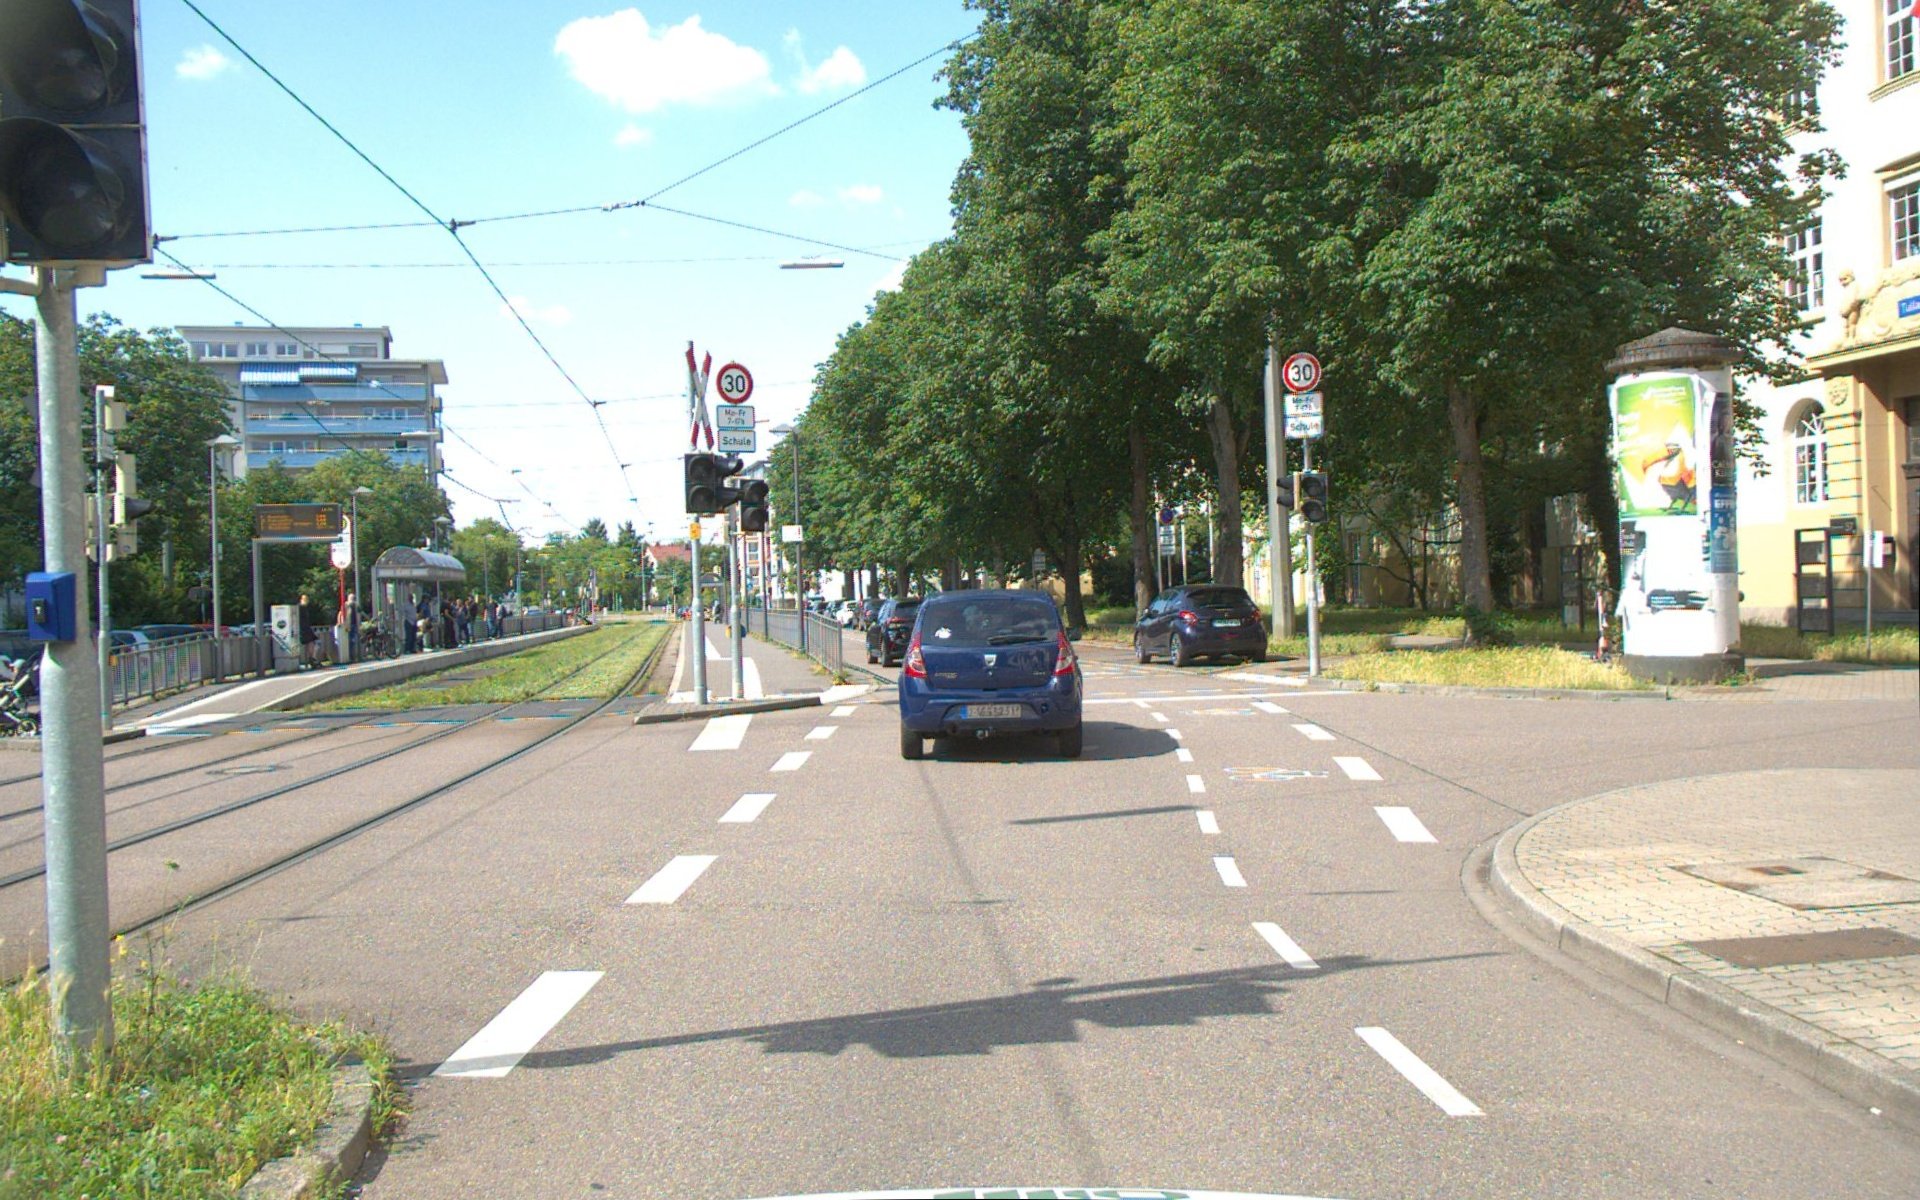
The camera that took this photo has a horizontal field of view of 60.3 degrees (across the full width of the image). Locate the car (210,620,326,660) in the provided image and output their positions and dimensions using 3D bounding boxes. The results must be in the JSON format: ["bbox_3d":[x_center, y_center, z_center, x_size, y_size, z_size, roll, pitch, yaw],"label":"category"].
[{"bbox_3d":[-28.122,1.613,67.276,1.684,1.391,3.980,-3,0,40],"label":"car"}]

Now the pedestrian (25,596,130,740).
[{"bbox_3d":[-11.669,0.878,21.907,0.855,1.806,1.001,-4,0,-11],"label":"pedestrian"}]

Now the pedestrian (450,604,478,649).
[{"bbox_3d":[-16.604,0.881,55.381,0.642,1.450,0.562,-3,0,28],"label":"pedestrian"}]

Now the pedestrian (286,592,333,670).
[{"bbox_3d":[-14.999,0.713,38.127,0.699,1.756,0.666,-2,0,33],"label":"pedestrian"}]

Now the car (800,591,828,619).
[{"bbox_3d":[-9.937,0.333,112.750,1.794,1.792,3.997,-2,0,-4],"label":"car"}]

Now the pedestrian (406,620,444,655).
[{"bbox_3d":[-16.539,1.154,51.147,0.907,1.006,0.796,-4,-1,-7],"label":"pedestrian"}]

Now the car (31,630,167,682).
[{"bbox_3d":[-25.198,1.615,48.497,1.425,1.332,3.238,-2,0,32],"label":"car"}]

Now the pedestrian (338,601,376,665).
[{"bbox_3d":[-15.750,0.859,43.187,0.650,1.596,0.685,-4,0,-1],"label":"pedestrian"}]

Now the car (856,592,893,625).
[{"bbox_3d":[-4.453,0.409,85.834,1.792,1.564,3.997,-3,0,-4],"label":"car"}]

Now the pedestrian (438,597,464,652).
[{"bbox_3d":[-16.884,0.799,54.855,0.592,1.796,0.639,-2,0,0],"label":"pedestrian"}]

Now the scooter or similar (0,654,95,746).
[{"bbox_3d":[-11.986,1.296,21.615,0.937,1.083,0.795,-4,0,-10],"label":"scooter or similar"}]

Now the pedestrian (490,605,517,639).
[{"bbox_3d":[-20.619,0.975,74.680,1.015,1.462,0.698,-4,1,-24],"label":"pedestrian"}]

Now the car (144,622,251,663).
[{"bbox_3d":[-27.795,1.547,60.360,1.426,1.332,3.236,-2,0,35],"label":"car"}]

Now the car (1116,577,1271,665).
[{"bbox_3d":[4.318,0.372,31.154,1.733,1.458,3.895,-3,0,-10],"label":"car"}]

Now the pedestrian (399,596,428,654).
[{"bbox_3d":[-16.405,0.744,49.624,0.643,1.722,0.655,-3,0,-9],"label":"pedestrian"}]

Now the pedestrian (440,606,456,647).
[{"bbox_3d":[-18.972,0.993,61.316,0.480,1.477,0.461,-3,0,-19],"label":"pedestrian"}]

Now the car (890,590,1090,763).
[{"bbox_3d":[0.259,0.653,16.312,1.732,1.487,3.775,0,0,0],"label":"car"}]

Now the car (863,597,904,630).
[{"bbox_3d":[-3.739,0.648,80.421,1.825,1.470,3.997,-3,0,-4],"label":"car"}]

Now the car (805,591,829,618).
[{"bbox_3d":[-10.277,0.320,118.853,1.635,1.802,3.996,-2,0,-5],"label":"car"}]

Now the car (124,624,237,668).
[{"bbox_3d":[-26.999,1.588,57.363,1.426,1.332,3.236,-2,0,35],"label":"car"}]

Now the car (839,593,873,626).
[{"bbox_3d":[-5.914,0.521,93.870,1.587,1.780,3.992,-2,0,-8],"label":"car"}]

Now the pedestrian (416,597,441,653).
[{"bbox_3d":[-17.263,0.809,53.708,0.582,1.766,0.556,-3,0,-4],"label":"pedestrian"}]

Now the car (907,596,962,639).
[{"bbox_3d":[-1.010,0.645,63.405,1.825,1.470,3.997,-4,0,-4],"label":"car"}]

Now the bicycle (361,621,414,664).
[{"bbox_3d":[-14.930,1.107,43.158,0.672,0.991,1.771,-5,1,1],"label":"bicycle"}]

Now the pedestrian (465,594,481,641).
[{"bbox_3d":[-18.103,0.654,61.452,0.480,1.742,0.461,-3,0,-19],"label":"pedestrian"}]

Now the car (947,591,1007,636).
[{"bbox_3d":[0.574,0.460,60.249,1.825,1.470,3.997,-4,0,-4],"label":"car"}]

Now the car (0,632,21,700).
[{"bbox_3d":[-23.225,1.576,37.170,1.517,1.531,3.368,-2,0,43],"label":"car"}]

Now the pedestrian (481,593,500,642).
[{"bbox_3d":[-19.785,0.726,69.723,0.649,2.049,0.801,-2,0,-14],"label":"pedestrian"}]

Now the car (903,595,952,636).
[{"bbox_3d":[-1.358,0.604,68.027,1.815,1.542,3.997,-2,0,-4],"label":"car"}]

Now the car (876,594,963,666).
[{"bbox_3d":[-0.918,0.605,35.606,1.667,1.391,3.511,-1,1,-5],"label":"car"}]

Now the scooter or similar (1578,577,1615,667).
[{"bbox_3d":[8.804,0.286,22.892,0.299,1.210,1.163,-2,0,14],"label":"scooter or similar"}]
